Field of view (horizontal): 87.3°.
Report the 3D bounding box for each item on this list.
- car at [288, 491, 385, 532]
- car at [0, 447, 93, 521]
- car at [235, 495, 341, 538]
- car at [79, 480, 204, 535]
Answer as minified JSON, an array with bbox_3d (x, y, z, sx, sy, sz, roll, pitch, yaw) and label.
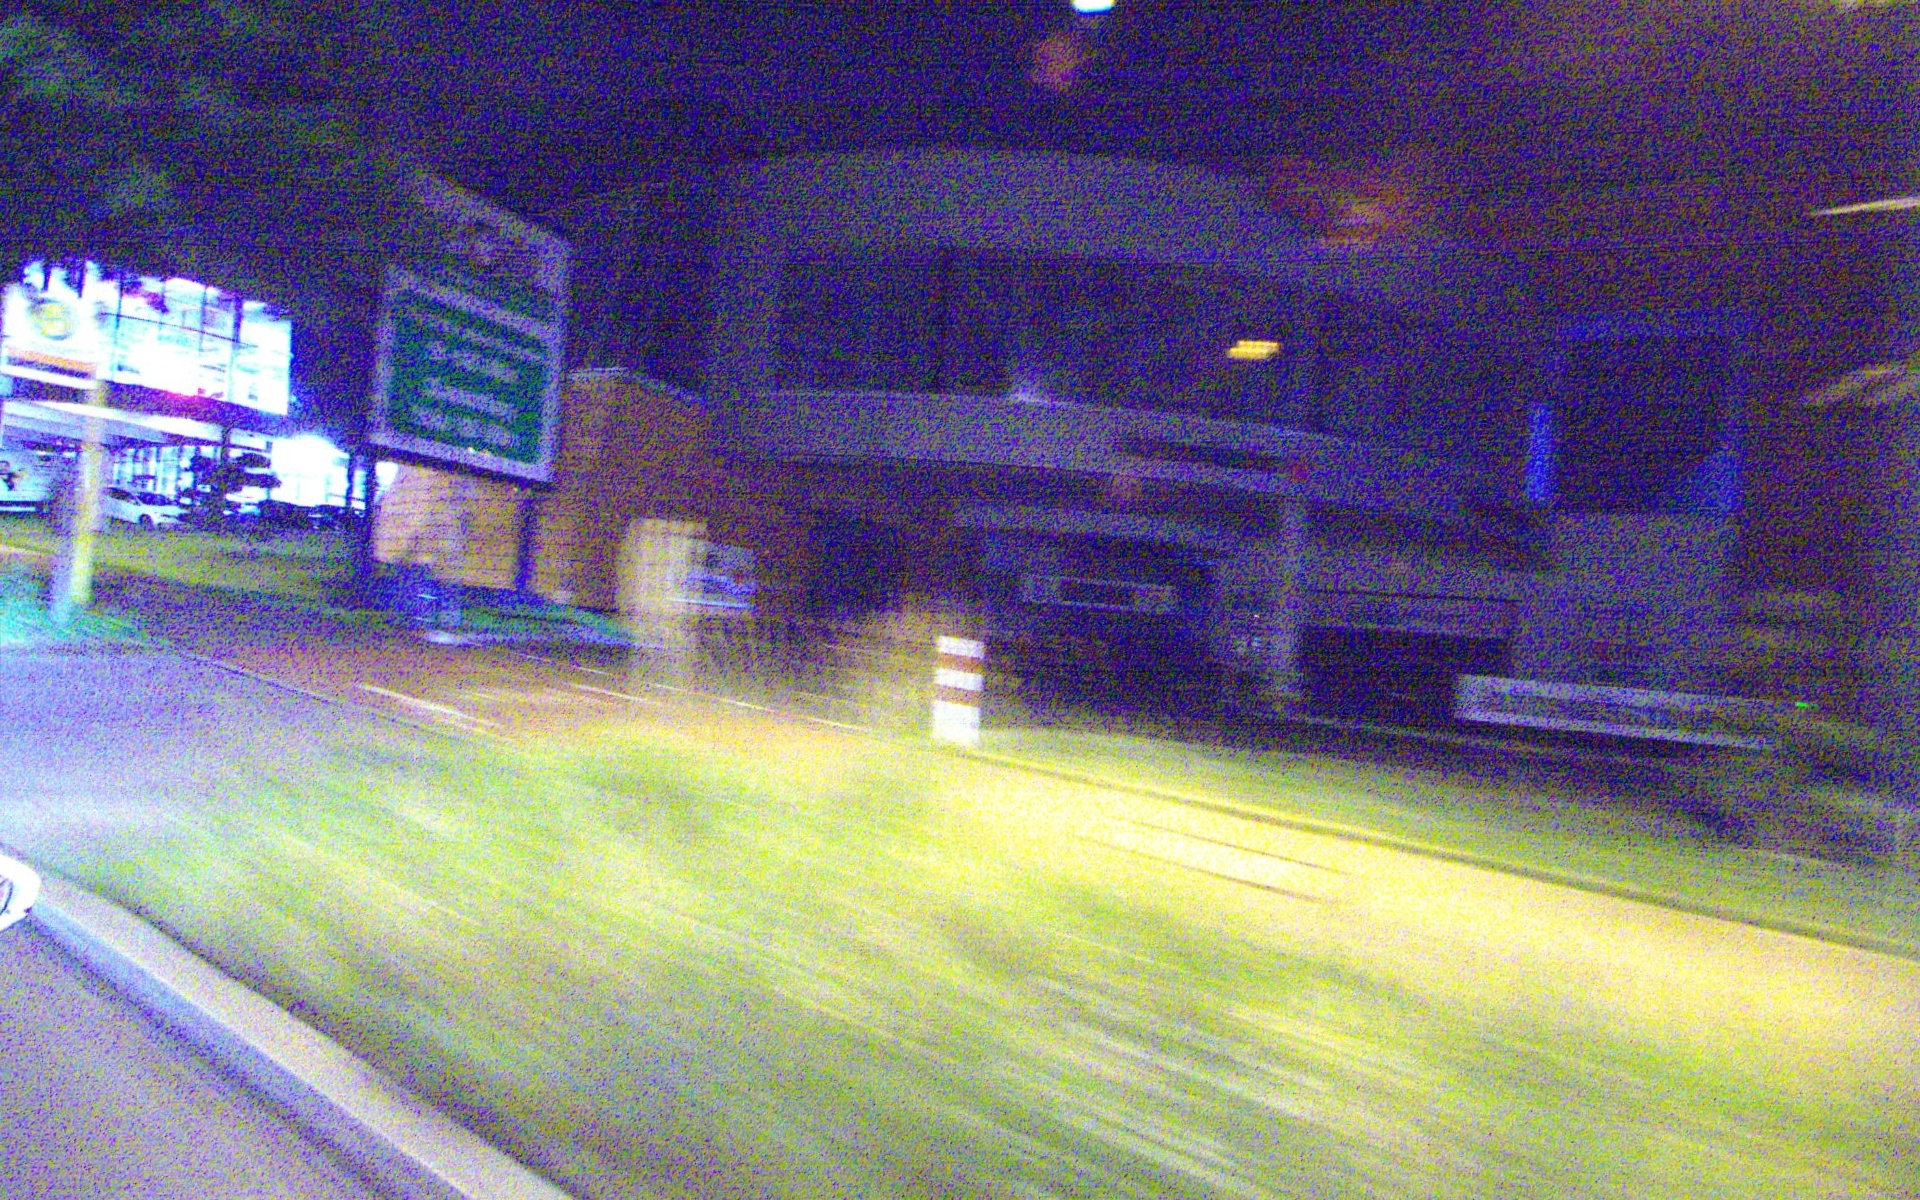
[{"bbox_3d":[-30.989,-4.387,50.030,3.891,1.624,1.780,6,4,9],"label":"car"},{"bbox_3d":[-36.180,-4.405,37.176,2.240,2.565,6.027,7,4,15],"label":"car"},{"bbox_3d":[-31.279,-3.889,46.885,3.891,1.600,1.797,6,4,9],"label":"car"},{"bbox_3d":[-33.712,-3.803,41.492,3.891,1.735,1.810,6,2,9],"label":"car"}]
